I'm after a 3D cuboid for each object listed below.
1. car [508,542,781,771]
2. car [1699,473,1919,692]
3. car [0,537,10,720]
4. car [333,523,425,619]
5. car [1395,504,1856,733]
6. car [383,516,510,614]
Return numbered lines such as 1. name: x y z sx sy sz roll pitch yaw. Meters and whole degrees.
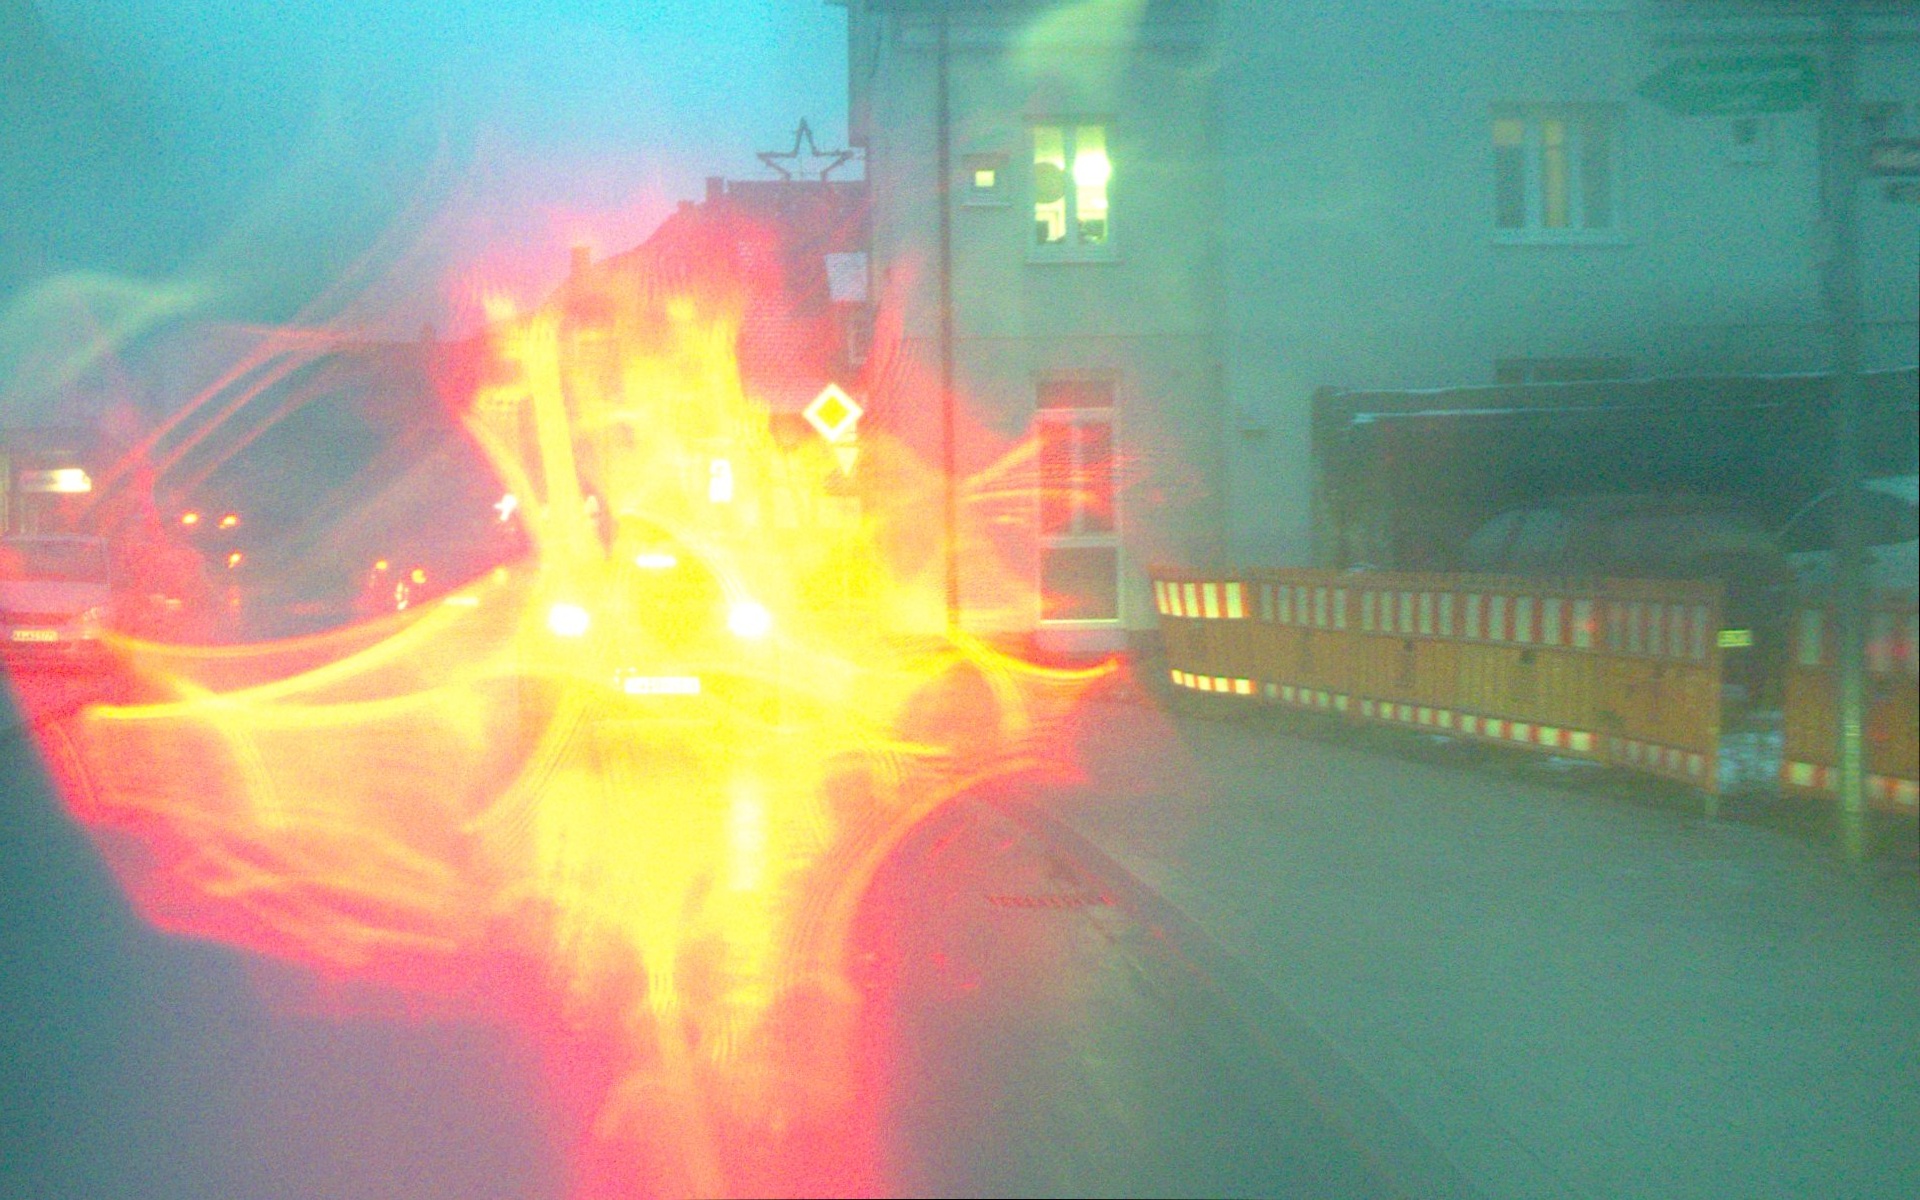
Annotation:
1. car: -2.385 0.349 25.195 1.814 1.528 4.001 0 1 -8
2. car: 6.967 -0.189 25.226 1.720 1.457 3.634 -3 2 -10
3. car: -8.069 0.293 23.916 1.911 1.524 4.548 3 1 -5
4. car: -13.656 -0.702 80.937 1.993 2.195 4.001 0 1 -8
5. car: 4.590 0.077 24.247 1.886 1.457 3.635 -1 1 -12
6. car: -8.571 -0.597 57.205 1.993 1.583 4.001 0 1 -10
